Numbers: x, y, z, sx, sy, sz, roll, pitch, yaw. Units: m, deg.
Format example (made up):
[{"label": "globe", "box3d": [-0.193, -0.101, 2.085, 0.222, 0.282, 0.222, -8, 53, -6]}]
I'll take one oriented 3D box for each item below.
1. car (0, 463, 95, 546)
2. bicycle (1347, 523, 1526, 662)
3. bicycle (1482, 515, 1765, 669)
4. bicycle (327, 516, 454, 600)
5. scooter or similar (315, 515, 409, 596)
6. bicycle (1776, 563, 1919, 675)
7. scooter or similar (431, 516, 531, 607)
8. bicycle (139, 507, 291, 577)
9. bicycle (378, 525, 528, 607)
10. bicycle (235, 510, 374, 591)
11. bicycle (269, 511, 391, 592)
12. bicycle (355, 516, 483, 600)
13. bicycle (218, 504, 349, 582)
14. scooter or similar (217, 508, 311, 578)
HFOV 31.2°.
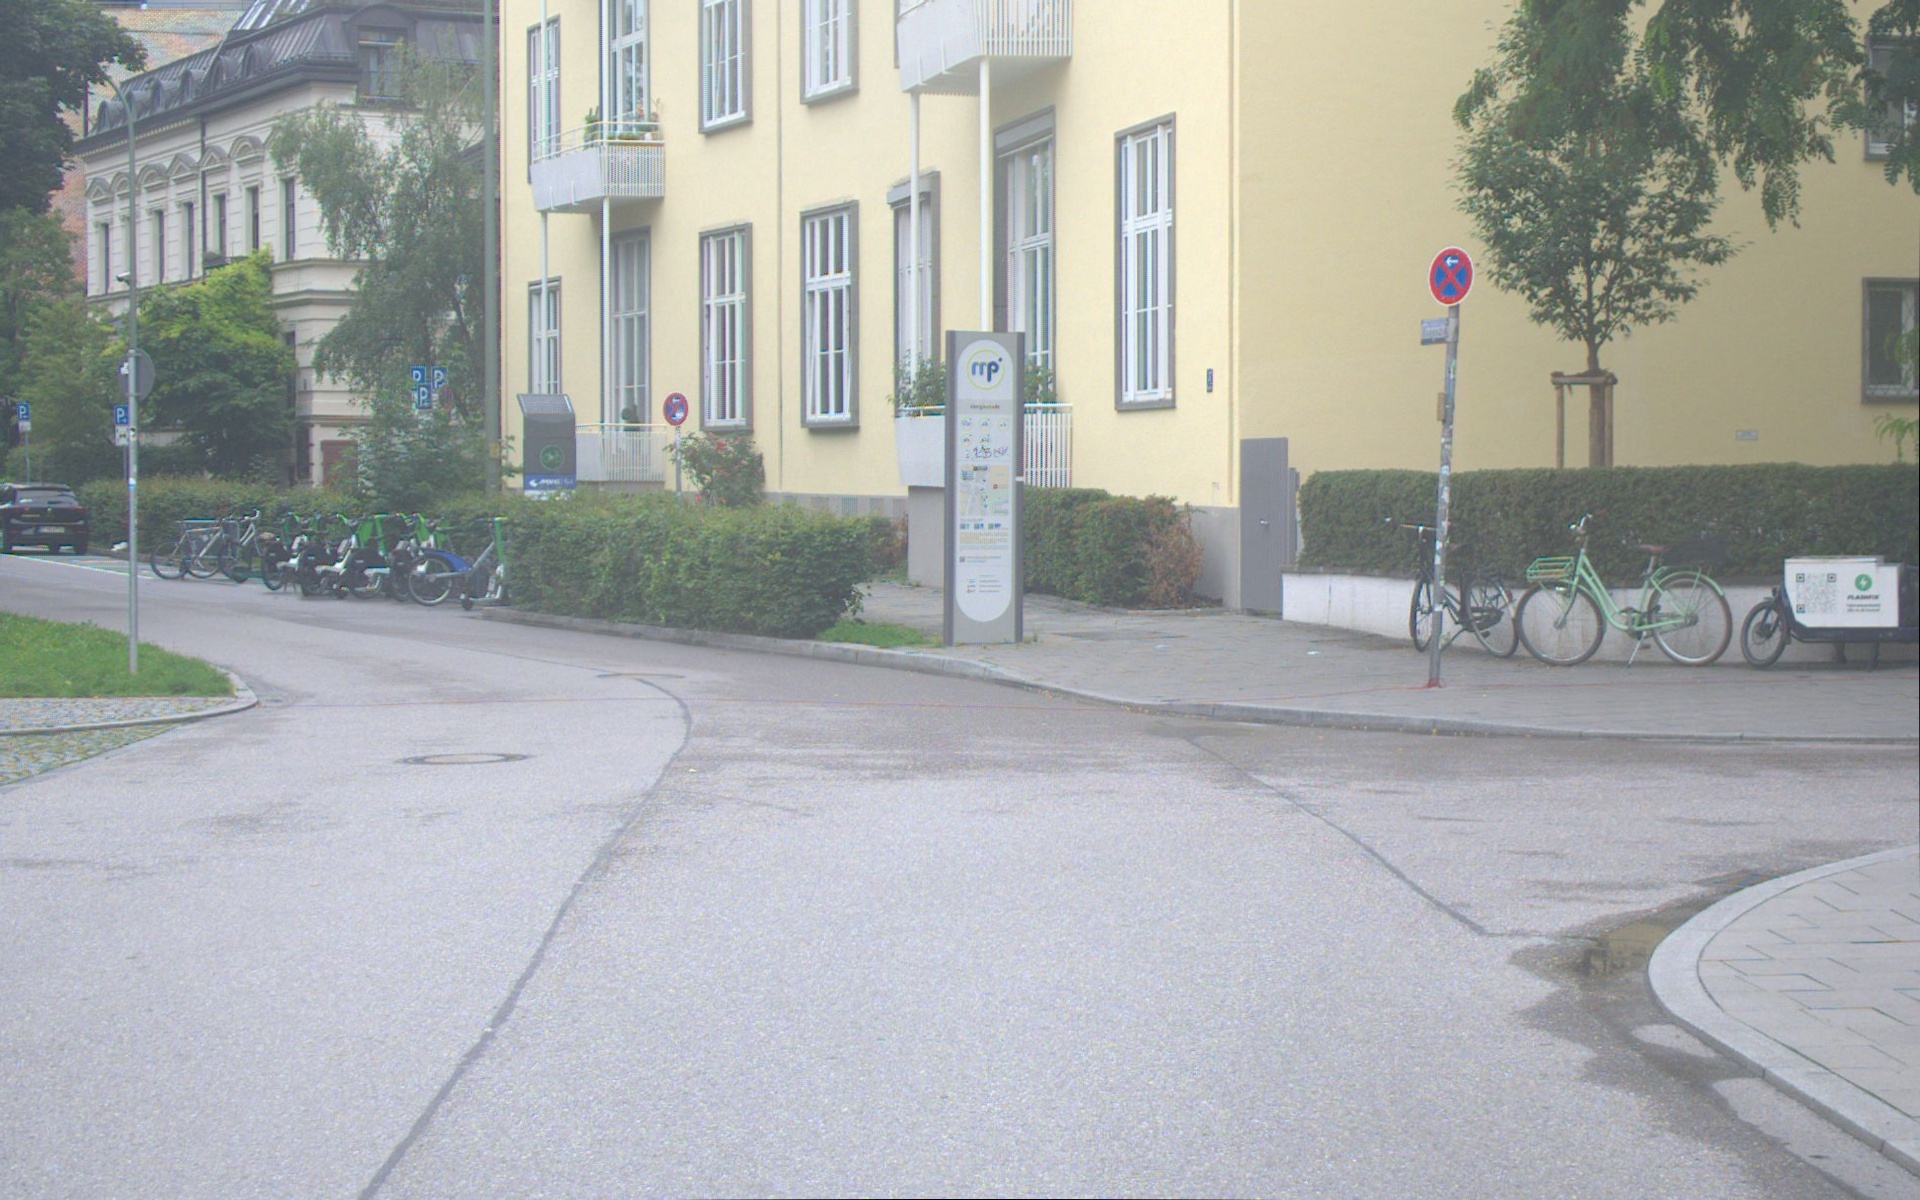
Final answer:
[{"label": "car", "box3d": [-18.956, -1.972, 70.289, 1.863, 1.628, 4.285, -1, 2, -22]}, {"label": "bicycle", "box3d": [3.929, -0.084, 28.516, 0.608, 1.069, 2.218, -2, 2, -16]}, {"label": "bicycle", "box3d": [5.038, -0.083, 26.239, 0.608, 1.113, 2.216, -2, 2, -41]}, {"label": "bicycle", "box3d": [-7.855, -0.590, 47.485, 0.577, 1.082, 1.930, 0, 3, 32]}, {"label": "scooter or similar", "box3d": [-8.317, -0.626, 47.858, 0.496, 1.084, 1.407, 0, 3, 28]}, {"label": "bicycle", "box3d": [7.064, 0.138, 24.845, 2.212, 0.776, 0.609, 1, 2, 21]}, {"label": "scooter or similar", "box3d": [-6.032, -0.492, 43.372, 0.496, 1.105, 1.407, 0, 3, 28]}, {"label": "bicycle", "box3d": [-12.249, -0.964, 56.564, 2.331, 1.082, 0.693, -2, 3, -30]}, {"label": "bicycle", "box3d": [-6.588, -0.450, 44.685, 1.823, 1.002, 0.578, -2, 2, -27]}, {"label": "bicycle", "box3d": [-9.315, -0.711, 48.961, 0.697, 1.082, 2.336, 0, 3, 25]}, {"label": "bicycle", "box3d": [-8.817, -0.690, 48.216, 0.638, 1.082, 1.983, 0, 2, 25]}, {"label": "bicycle", "box3d": [-7.372, -0.589, 46.907, 0.577, 1.082, 1.930, 0, 3, 32]}, {"label": "bicycle", "box3d": [-9.971, -0.851, 50.751, 0.763, 1.082, 2.138, 0, 3, 25]}, {"label": "scooter or similar", "box3d": [-11.094, -0.916, 54.848, 1.405, 1.084, 0.597, -1, 2, -7]}]
